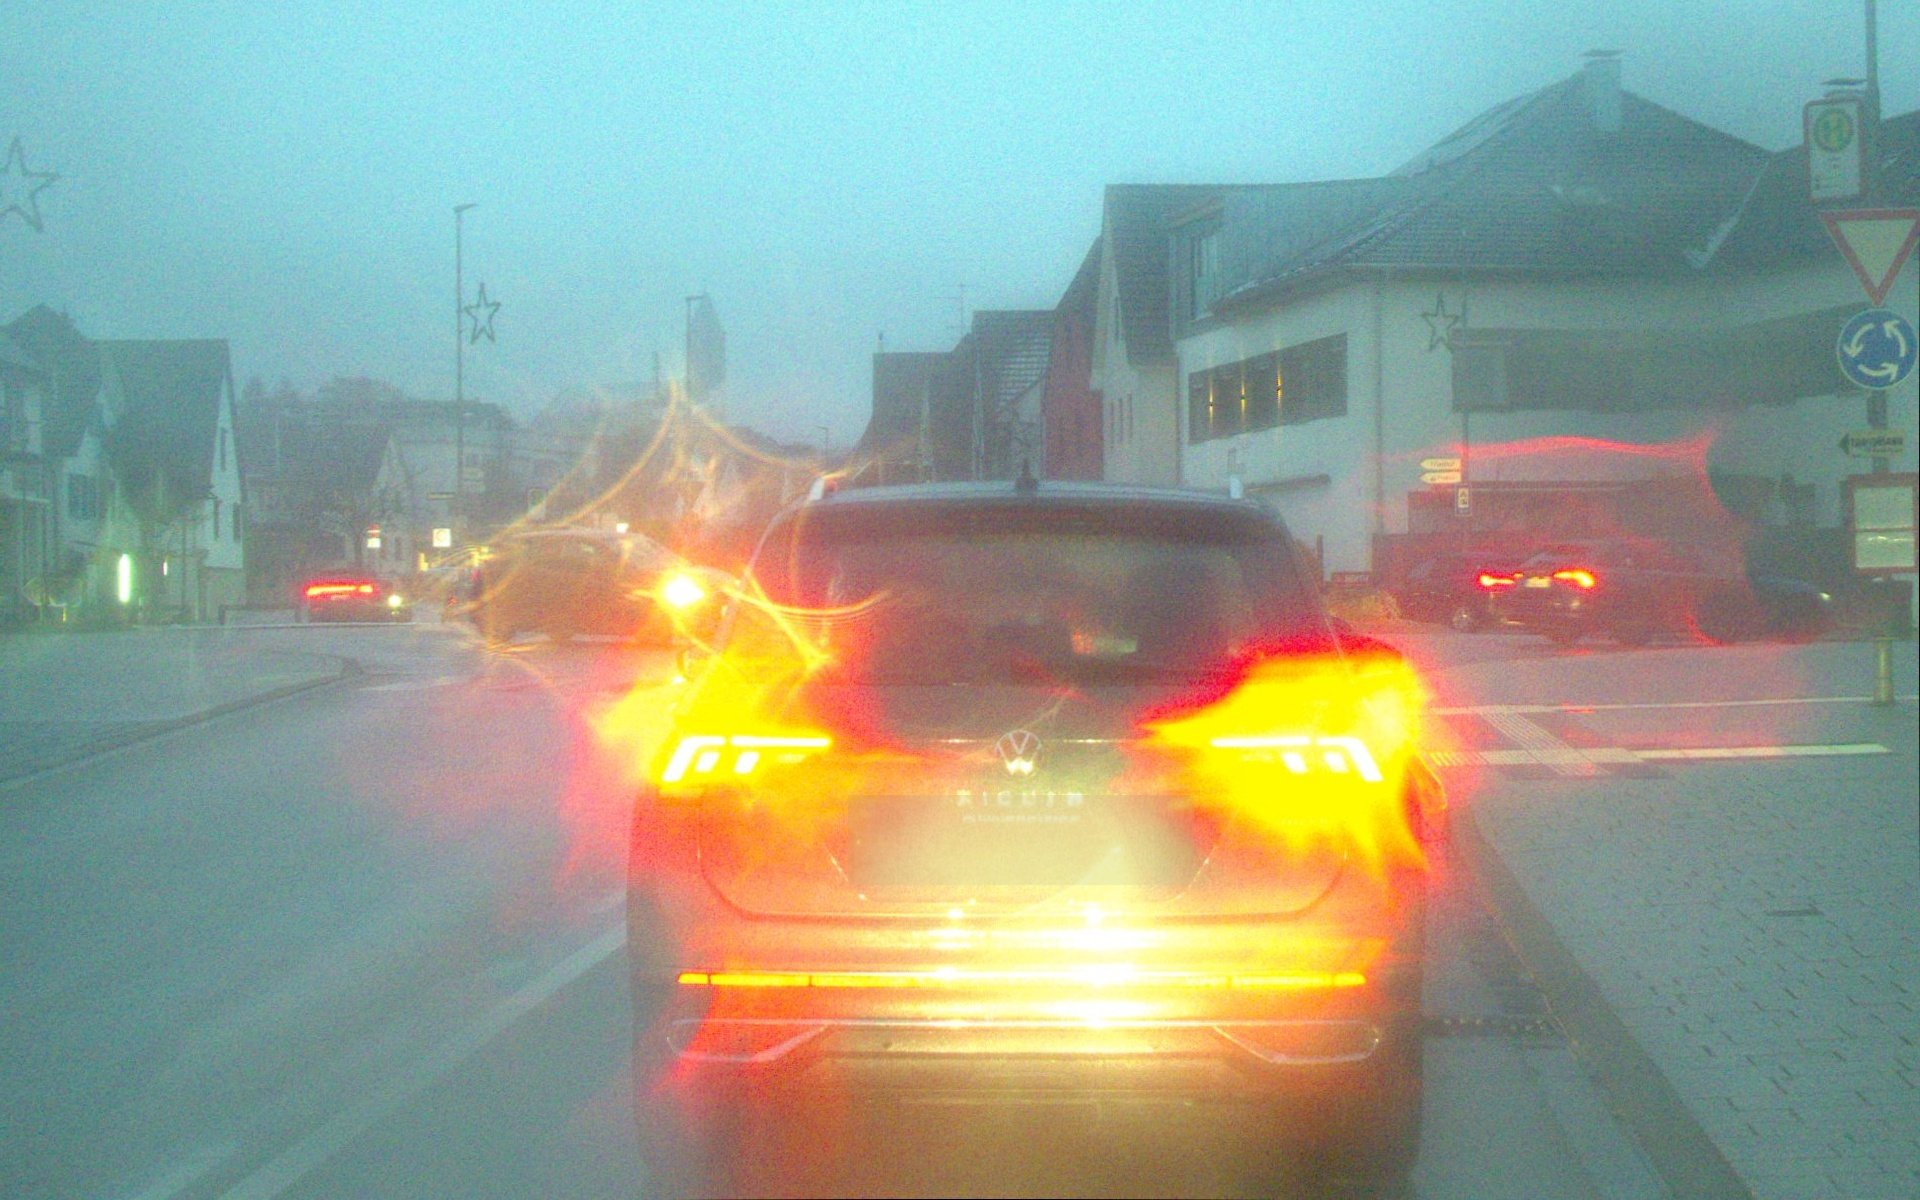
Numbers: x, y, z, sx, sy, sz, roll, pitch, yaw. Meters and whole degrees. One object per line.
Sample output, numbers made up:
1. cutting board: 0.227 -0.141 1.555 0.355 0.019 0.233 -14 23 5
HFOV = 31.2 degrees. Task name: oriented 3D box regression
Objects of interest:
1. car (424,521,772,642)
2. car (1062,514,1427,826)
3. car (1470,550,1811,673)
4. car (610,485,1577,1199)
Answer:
1. car: -4.696 -0.241 44.707 3.991 1.413 1.998 -1 2 22
2. car: 1.398 0.287 18.196 1.682 1.448 4.000 1 1 2
3. car: 9.103 0.170 46.069 3.986 1.474 2.000 2 -1 -20
4. car: 0.326 0.526 9.228 1.964 1.589 4.313 1 1 2
